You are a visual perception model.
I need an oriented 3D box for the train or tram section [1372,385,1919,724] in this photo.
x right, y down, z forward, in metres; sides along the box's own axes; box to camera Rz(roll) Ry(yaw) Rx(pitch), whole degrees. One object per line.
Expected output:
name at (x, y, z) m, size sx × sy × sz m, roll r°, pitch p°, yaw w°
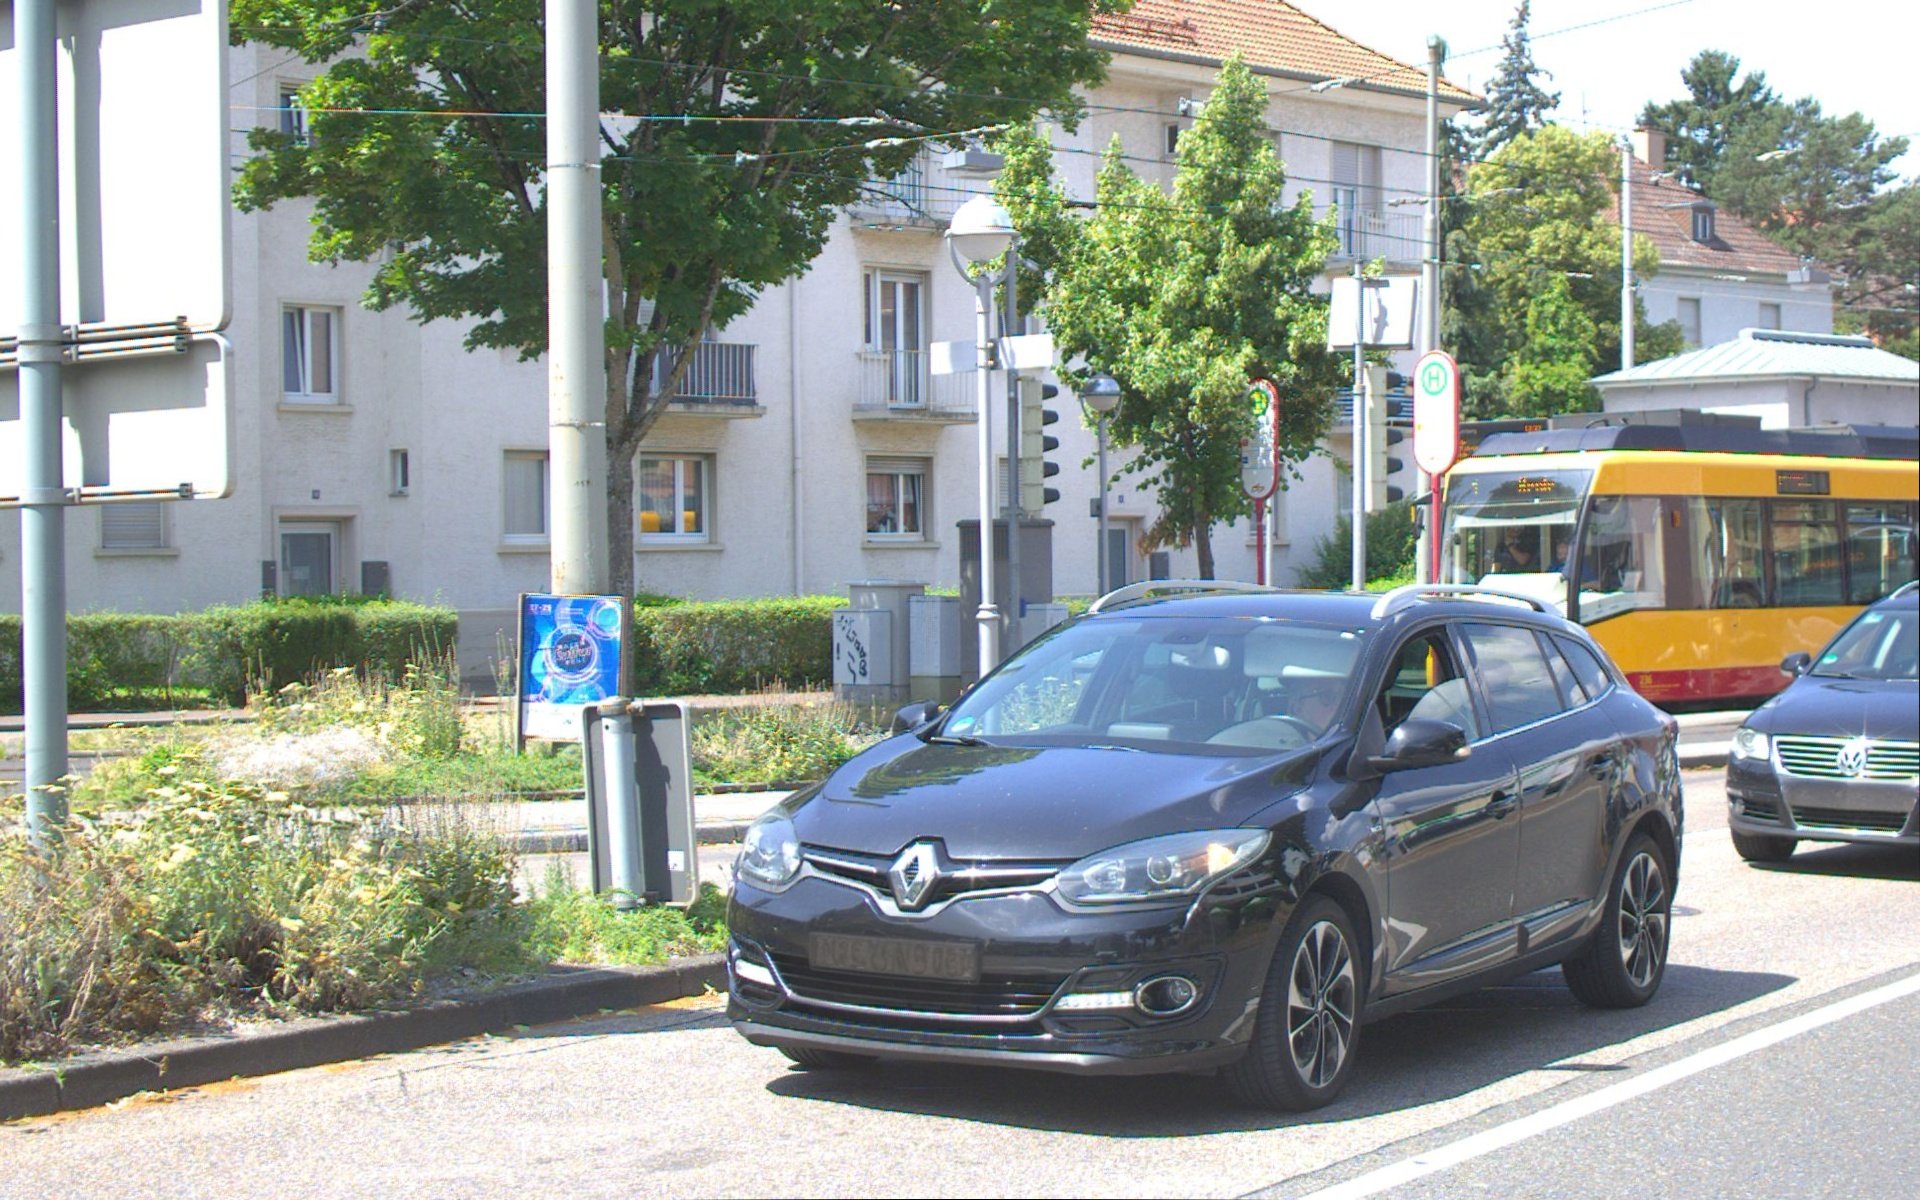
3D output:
train or tram section at (10.411, -0.532, 42.211) m, size 2.816 × 3.556 × 14.145 m, roll 0°, pitch 1°, yaw 43°

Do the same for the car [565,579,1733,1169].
car at (0.853, 0.686, 11.217) m, size 1.997 × 1.495 × 4.418 m, roll 0°, pitch 1°, yaw 31°

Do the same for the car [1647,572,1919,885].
car at (5.545, 0.610, 18.816) m, size 1.997 × 1.514 × 4.503 m, roll 1°, pitch 1°, yaw 33°
